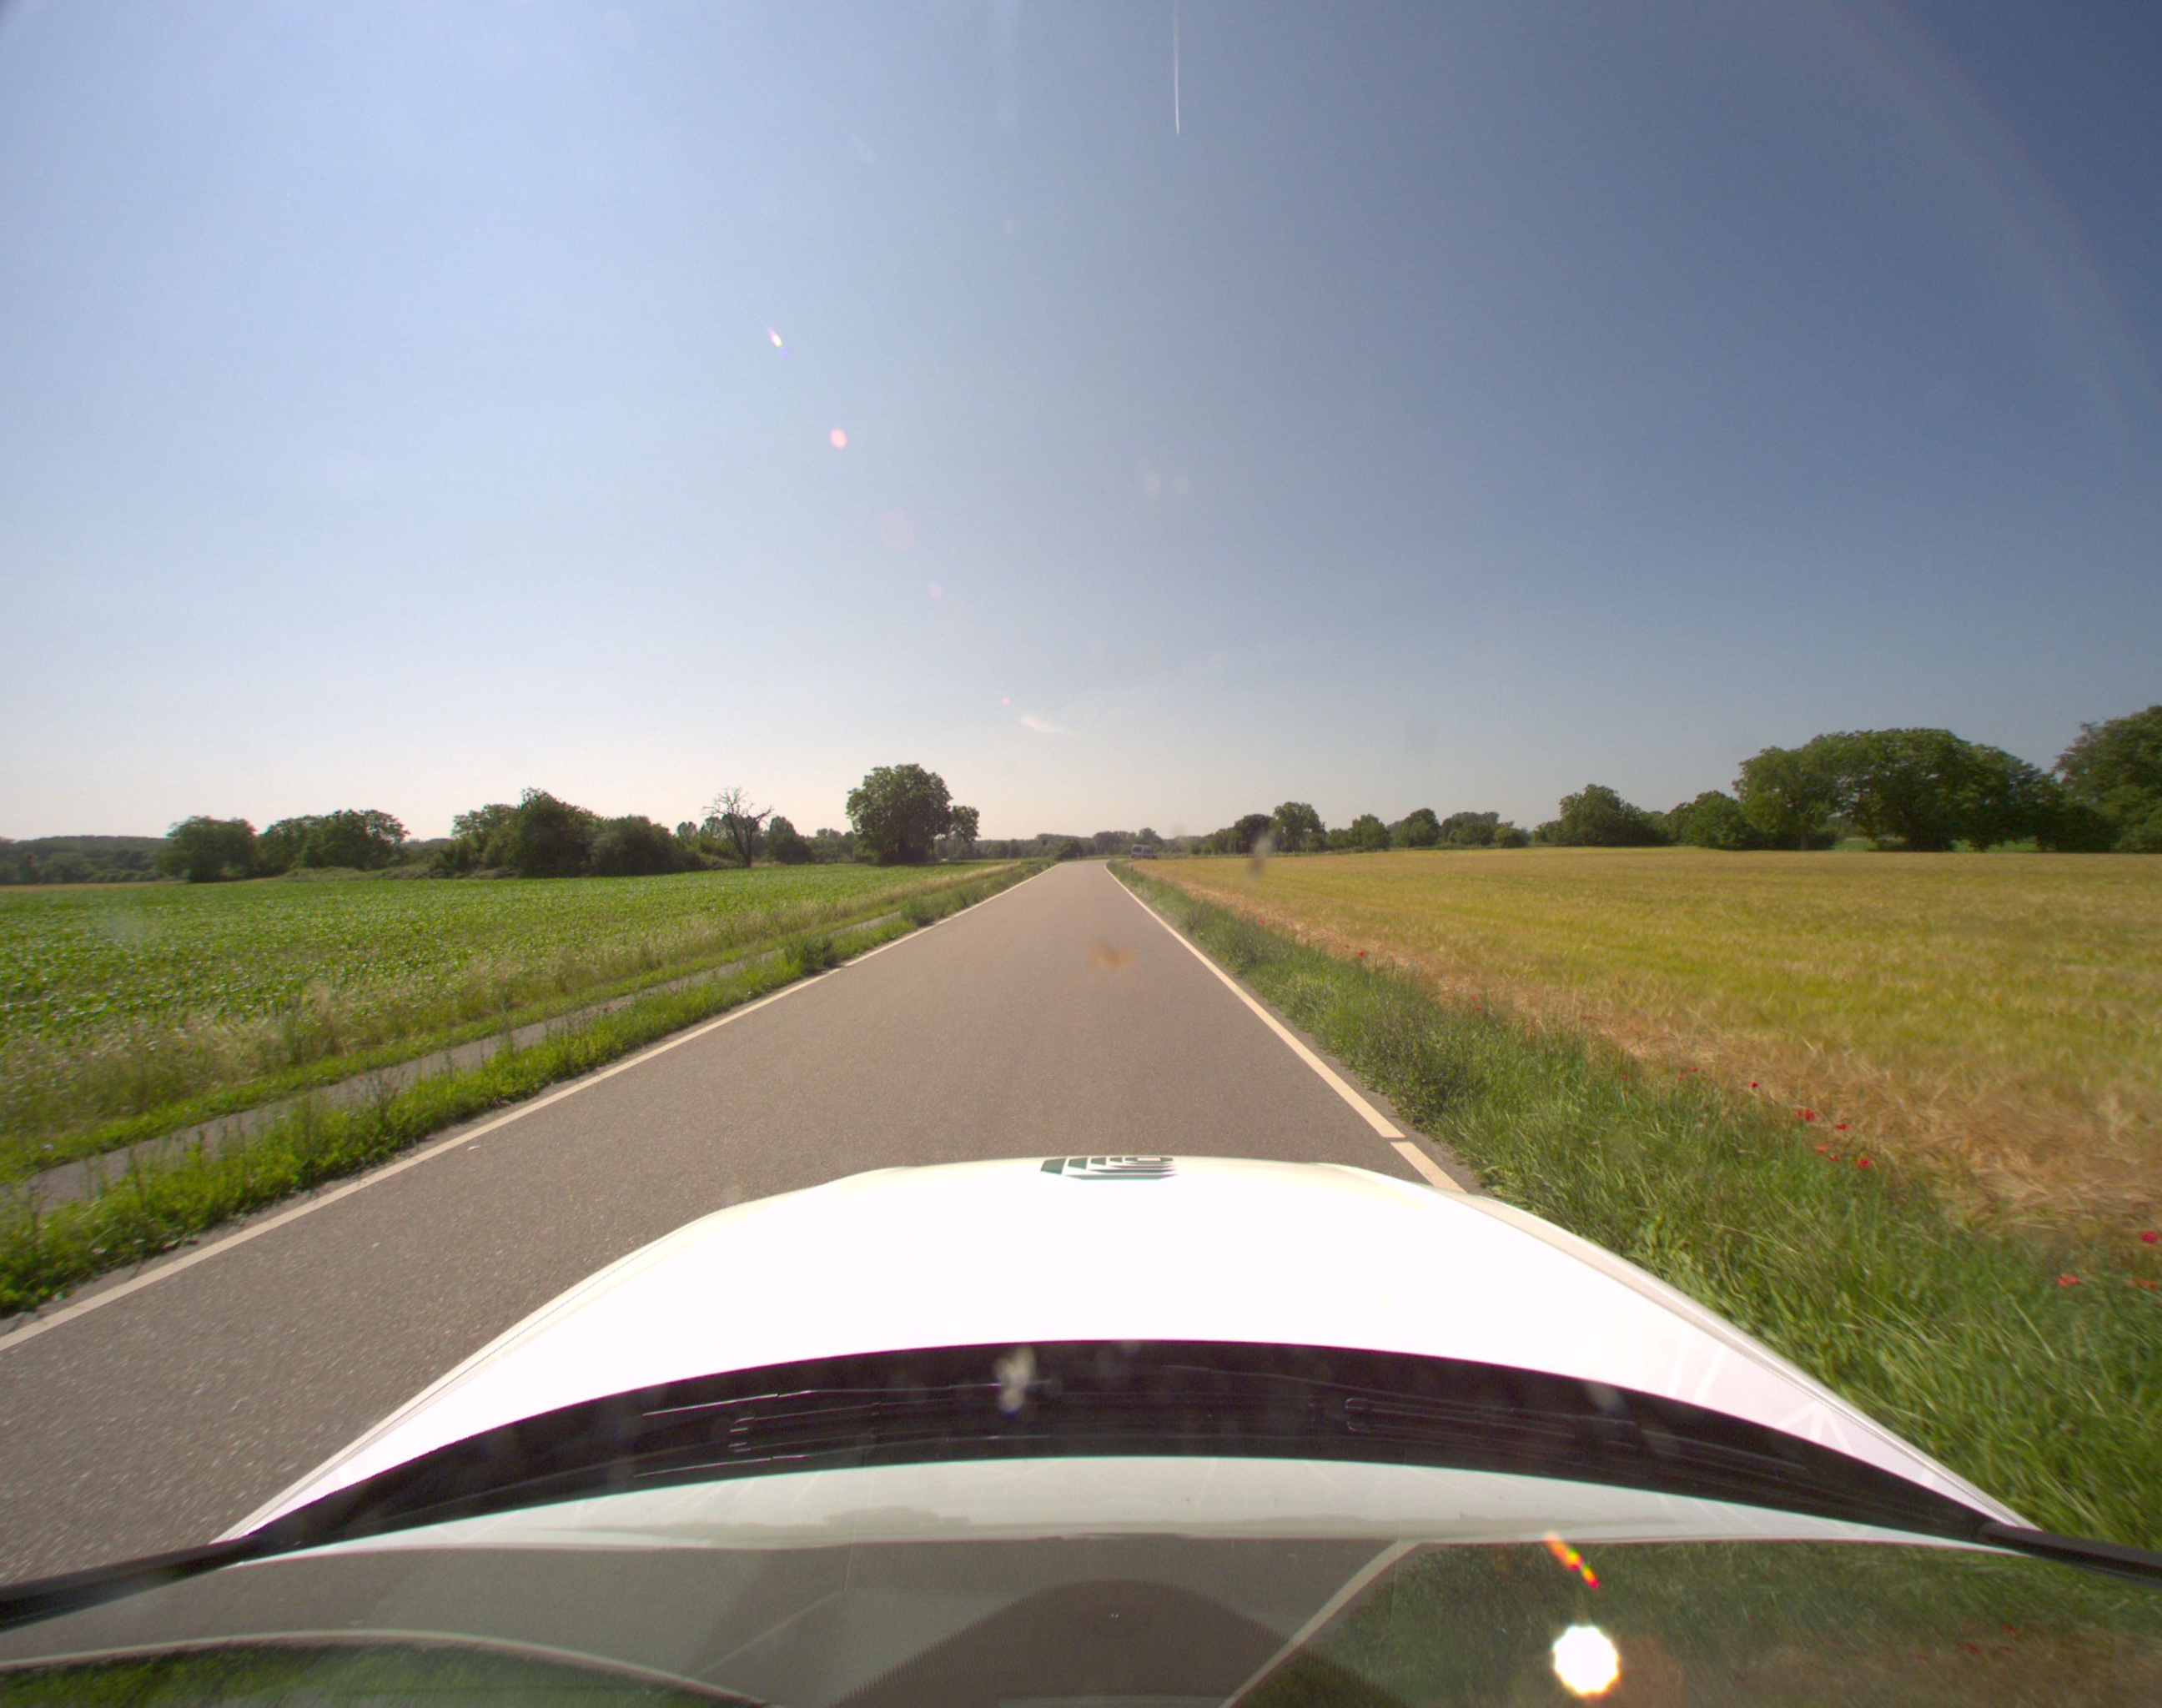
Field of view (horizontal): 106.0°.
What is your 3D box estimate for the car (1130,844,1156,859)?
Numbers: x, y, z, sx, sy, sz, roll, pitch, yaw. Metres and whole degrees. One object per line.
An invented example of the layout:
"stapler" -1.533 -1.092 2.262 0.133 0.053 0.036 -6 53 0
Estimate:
"car" 10.108 -0.448 132.138 2.084 2.367 5.720 -2 0 26
